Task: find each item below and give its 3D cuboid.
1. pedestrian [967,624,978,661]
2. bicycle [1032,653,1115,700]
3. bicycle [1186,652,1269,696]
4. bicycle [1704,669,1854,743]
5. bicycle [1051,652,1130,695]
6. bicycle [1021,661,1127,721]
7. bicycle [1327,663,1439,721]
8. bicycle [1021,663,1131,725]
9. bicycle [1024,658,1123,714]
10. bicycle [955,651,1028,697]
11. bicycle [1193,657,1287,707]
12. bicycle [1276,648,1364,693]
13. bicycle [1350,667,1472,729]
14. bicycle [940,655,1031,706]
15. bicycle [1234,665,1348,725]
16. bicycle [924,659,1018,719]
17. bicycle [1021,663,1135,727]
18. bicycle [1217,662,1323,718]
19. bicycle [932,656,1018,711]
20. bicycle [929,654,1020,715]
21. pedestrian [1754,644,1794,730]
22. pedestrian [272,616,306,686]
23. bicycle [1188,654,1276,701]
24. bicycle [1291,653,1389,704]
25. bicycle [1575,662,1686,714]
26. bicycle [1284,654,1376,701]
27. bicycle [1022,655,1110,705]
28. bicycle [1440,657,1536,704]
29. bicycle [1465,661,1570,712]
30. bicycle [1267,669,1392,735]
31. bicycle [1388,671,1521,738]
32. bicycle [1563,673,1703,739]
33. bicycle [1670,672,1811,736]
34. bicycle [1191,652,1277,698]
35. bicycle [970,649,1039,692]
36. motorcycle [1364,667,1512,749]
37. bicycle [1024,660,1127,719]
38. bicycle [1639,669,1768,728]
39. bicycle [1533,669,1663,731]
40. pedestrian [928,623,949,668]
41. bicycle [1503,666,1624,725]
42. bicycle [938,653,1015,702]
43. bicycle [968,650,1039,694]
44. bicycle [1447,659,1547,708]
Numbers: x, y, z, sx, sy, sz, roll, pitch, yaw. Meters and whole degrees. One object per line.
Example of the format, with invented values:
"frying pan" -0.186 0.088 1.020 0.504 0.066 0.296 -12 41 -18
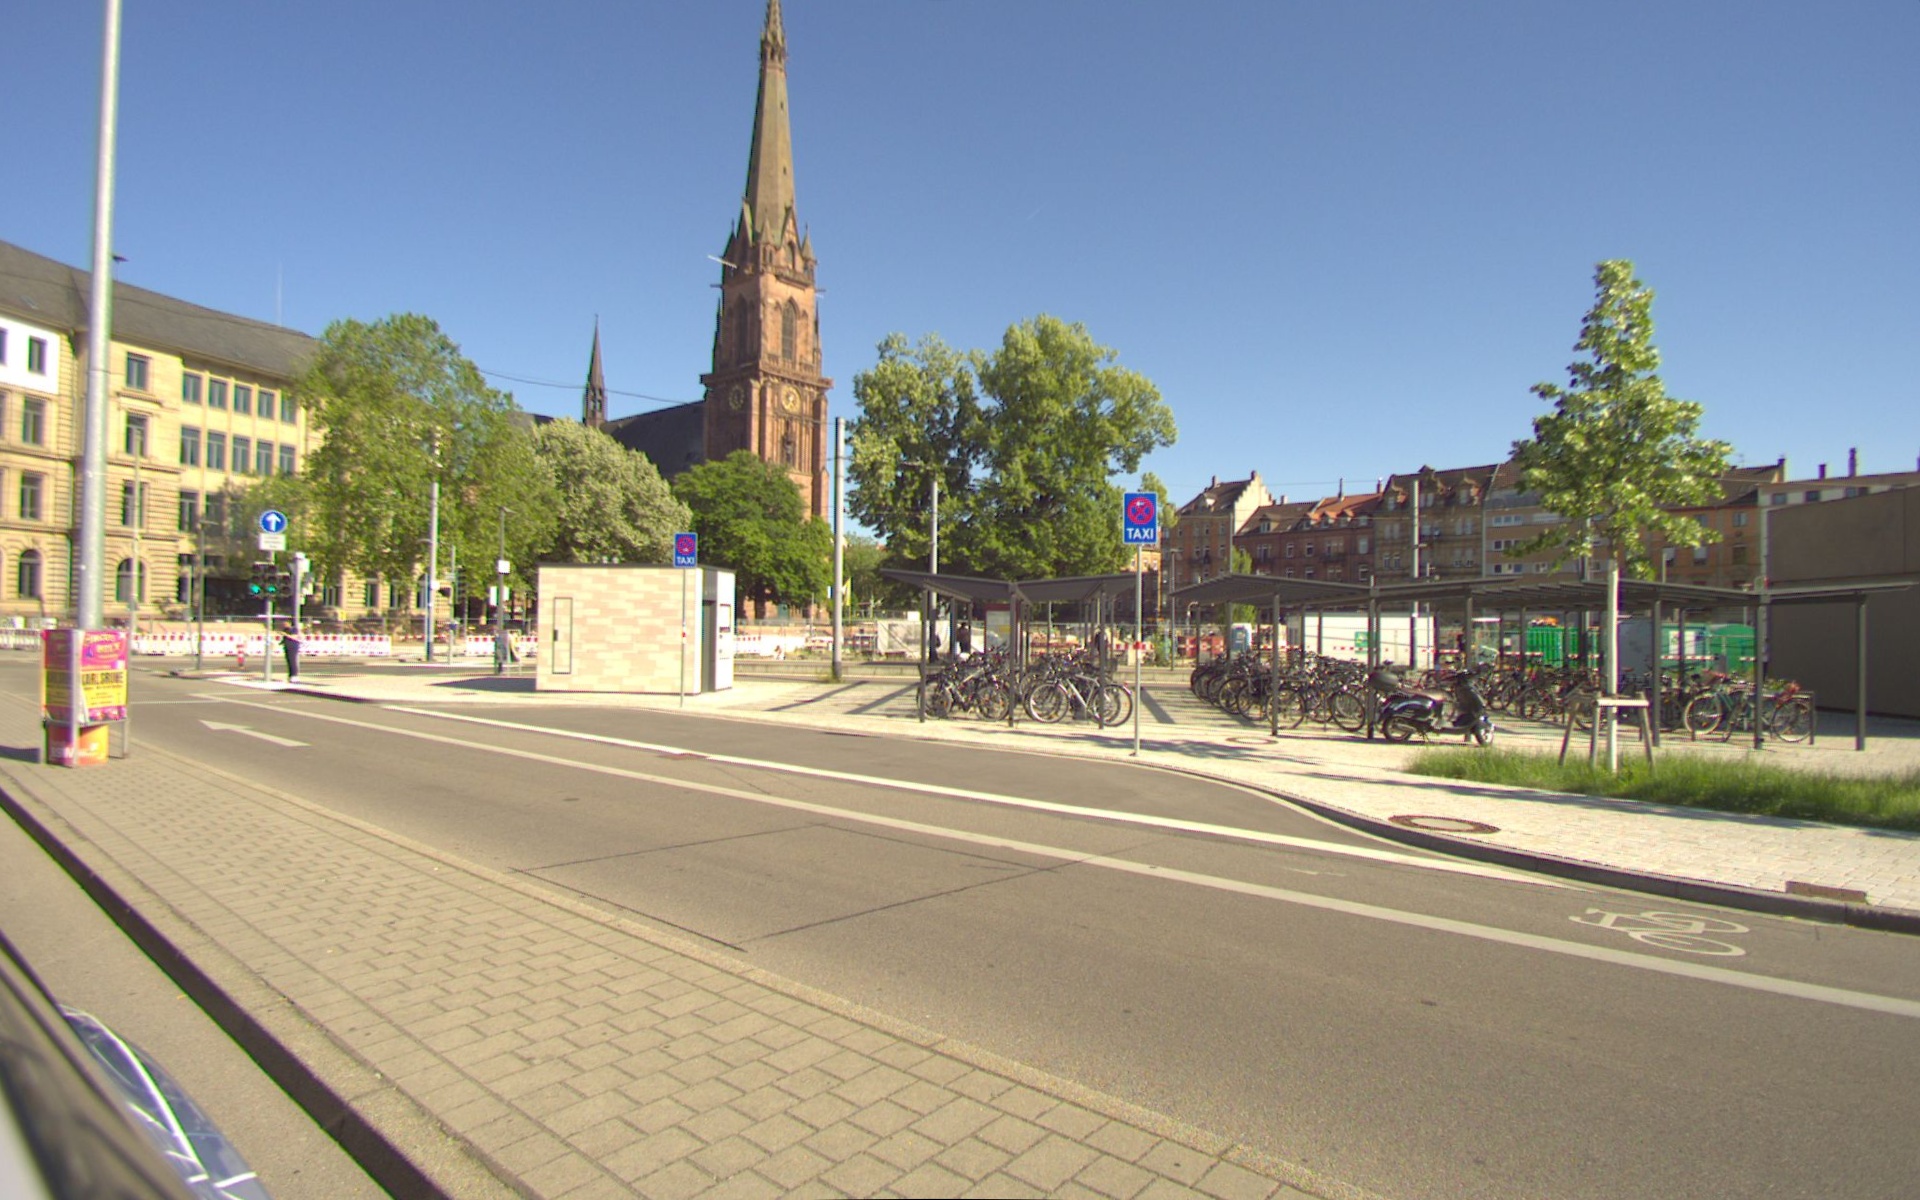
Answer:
"pedestrian" 0.586 1.995 47.613 0.399 1.734 0.419 1 -2 -11
"bicycle" 2.605 1.748 23.301 1.882 1.016 0.456 0 -2 8
"bicycle" 6.393 1.763 24.222 1.882 1.016 0.456 0 -2 8
"bicycle" 13.081 1.686 16.203 1.882 1.106 0.456 0 -2 8
"bicycle" 3.161 1.777 24.596 1.882 1.016 0.456 0 -2 8
"bicycle" 2.054 1.633 18.258 1.882 1.016 0.456 0 -2 8
"bicycle" 7.917 1.713 18.993 1.882 1.016 0.456 0 -2 8
"bicycle" 2.018 1.624 17.671 1.882 1.016 0.456 0 -2 8
"bicycle" 2.196 1.660 19.582 1.882 1.016 0.456 0 -2 8
"bicycle" 0.746 1.710 23.479 1.652 1.016 0.456 0 -2 8
"bicycle" 5.965 1.748 21.606 1.882 1.016 0.456 0 -2 8
"bicycle" 8.486 1.653 23.907 1.882 1.016 0.456 0 -2 8
"bicycle" 7.894 1.710 17.760 1.882 1.016 0.456 0 -2 8
"bicycle" 0.543 1.675 21.224 1.882 1.016 0.456 0 -2 8
"bicycle" 5.899 1.684 18.090 1.882 1.016 0.456 0 -2 8
"bicycle" 0.200 1.586 18.188 1.652 1.016 0.456 0 -2 8
"bicycle" 1.989 1.603 17.111 1.882 1.016 0.456 0 -2 8
"bicycle" 5.897 1.709 19.320 1.882 1.016 0.456 0 -2 8
"bicycle" 0.304 1.636 19.885 1.652 1.016 0.456 0 -2 8
"bicycle" 0.279 1.559 18.774 1.652 1.069 0.456 0 -2 8
"pedestrian" 19.835 2.097 24.657 0.718 2.029 0.678 -1 -3 41
"pedestrian" -18.113 1.365 27.305 0.683 1.868 0.680 2 -2 -37
"bicycle" 6.148 1.739 22.940 1.882 1.016 0.456 0 -2 8
"bicycle" 8.056 1.661 21.516 1.882 1.016 0.456 0 -2 8
"bicycle" 13.873 1.819 20.968 1.882 1.016 0.456 0 -2 8
"bicycle" 8.315 1.736 22.815 1.882 1.016 0.456 0 -2 8
"bicycle" 2.296 1.723 21.918 1.882 1.016 0.456 0 -2 8
"bicycle" 12.078 1.837 23.191 1.882 1.016 0.456 0 -2 8
"bicycle" 11.713 1.815 21.310 1.882 1.016 0.456 0 -2 8
"bicycle" 6.121 1.683 16.837 1.882 1.016 0.456 0 -2 8
"bicycle" 8.028 1.692 16.491 1.882 1.016 0.456 0 -2 8
"bicycle" 10.972 1.718 16.534 1.882 1.016 0.456 0 -2 8
"bicycle" 13.128 1.744 17.062 1.882 1.016 0.456 0 -2 8
"bicycle" 6.365 1.732 23.564 1.882 1.016 0.456 0 -2 8
"bicycle" 1.106 1.730 24.940 1.652 1.016 0.456 0 -2 8
"motorcycle" 7.161 1.603 15.222 1.924 1.160 0.516 0 -2 6
"bicycle" 2.136 1.646 18.741 1.882 1.016 0.456 0 -2 8
"bicycle" 13.468 1.778 18.361 1.882 1.016 0.456 0 -2 8
"bicycle" 11.100 1.733 17.639 1.882 1.016 0.456 0 -2 8
"pedestrian" -0.865 1.855 41.382 0.792 1.793 0.977 0 -2 3
"bicycle" 11.163 1.757 18.754 1.882 1.016 0.456 0 -2 8
"bicycle" 0.371 1.691 22.222 1.652 1.016 0.456 0 -2 8
"bicycle" 1.041 1.715 24.223 1.652 1.016 0.456 0 -2 8
"bicycle" 11.783 1.826 22.240 1.882 1.016 0.456 0 -2 8
